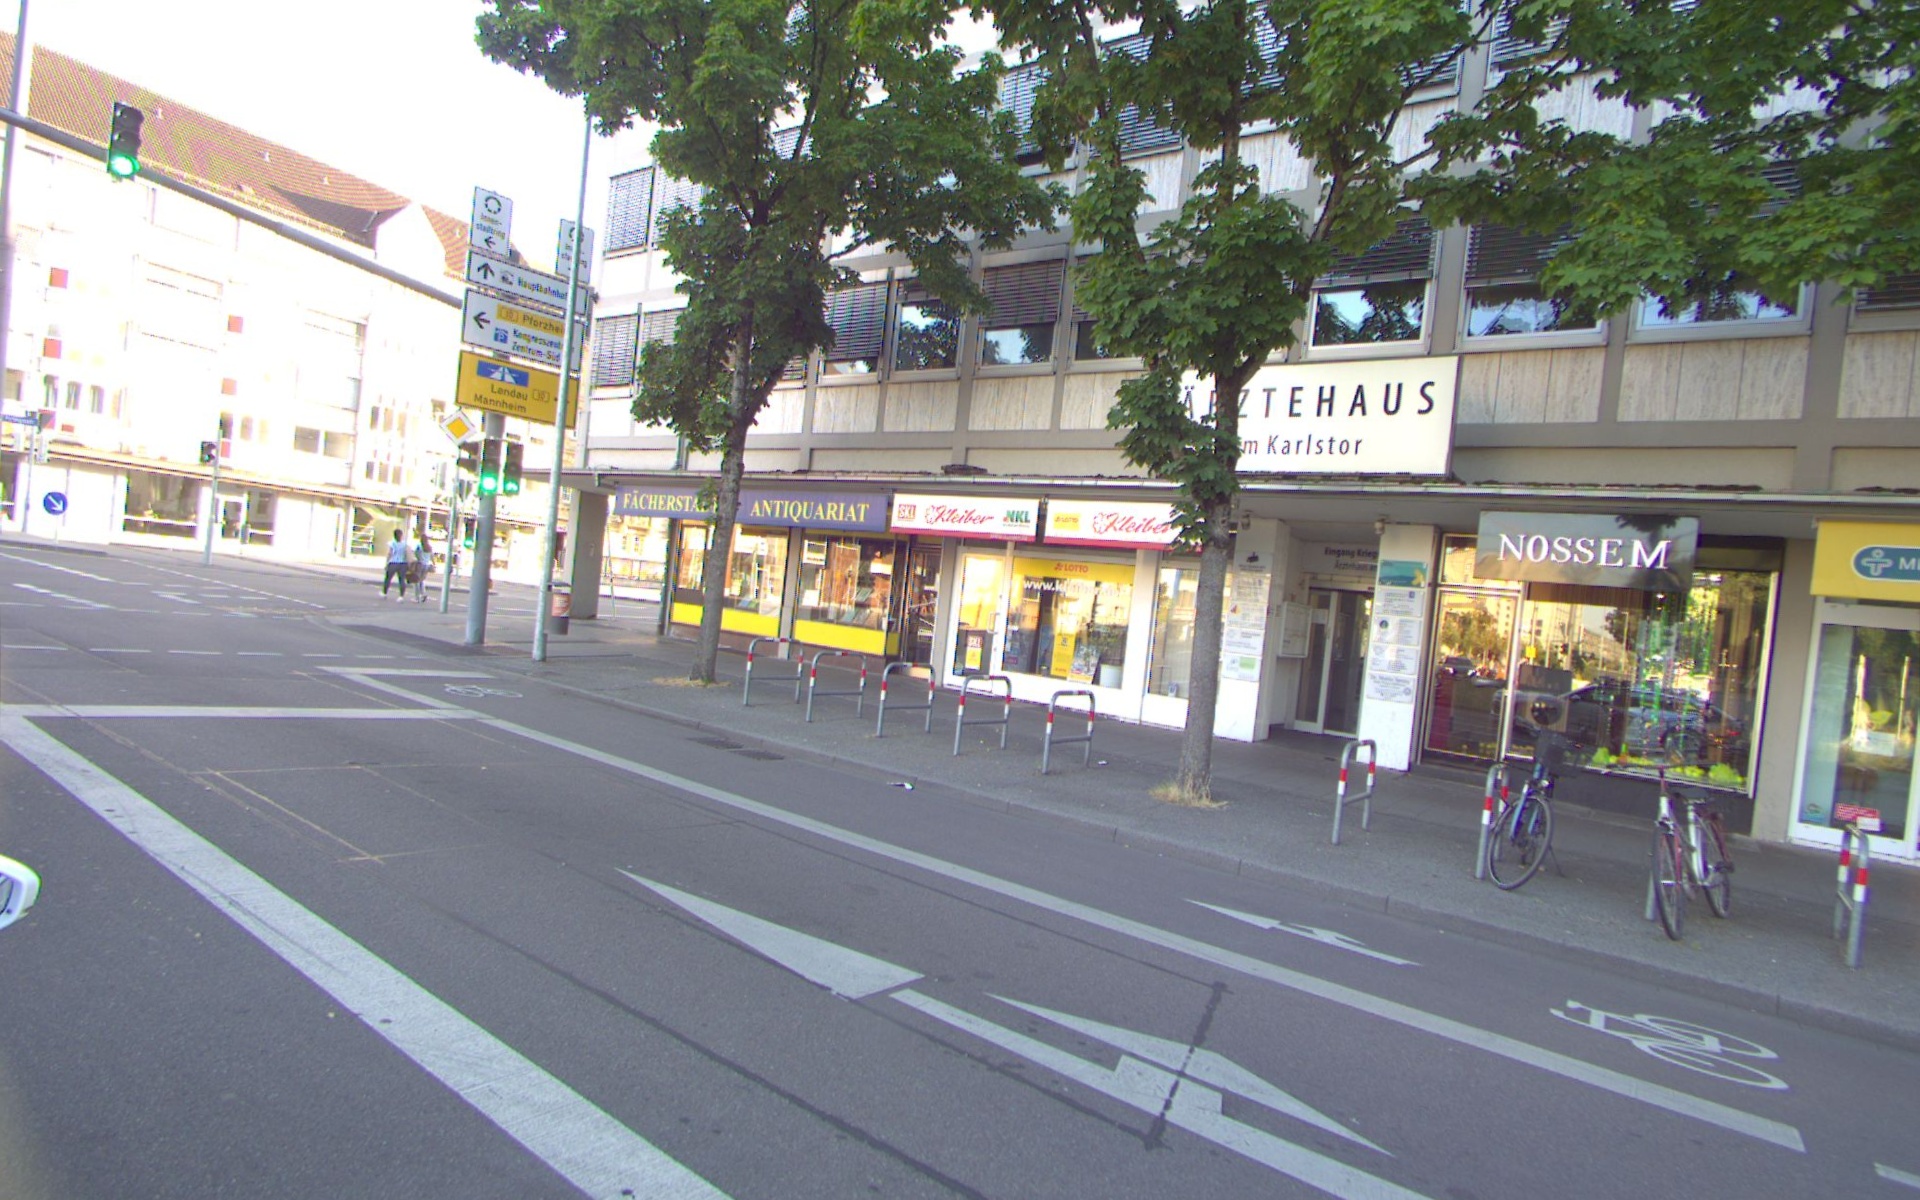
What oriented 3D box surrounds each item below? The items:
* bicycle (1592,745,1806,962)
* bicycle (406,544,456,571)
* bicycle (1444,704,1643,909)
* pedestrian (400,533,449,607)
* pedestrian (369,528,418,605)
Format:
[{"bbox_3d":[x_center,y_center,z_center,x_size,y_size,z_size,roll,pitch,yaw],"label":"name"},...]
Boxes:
[{"bbox_3d":[4.966,1.594,6.701,1.989,1.124,0.660,6,1,-42],"label":"bicycle"},{"bbox_3d":[-30.260,-2.427,57.556,0.809,1.281,2.408,7,0,30],"label":"bicycle"},{"bbox_3d":[4.359,1.453,7.447,1.898,1.251,0.660,6,1,-44],"label":"bicycle"},{"bbox_3d":[-12.949,-0.730,24.319,0.661,1.688,0.722,7,1,39],"label":"pedestrian"},{"bbox_3d":[-13.234,-0.782,23.494,0.661,1.688,0.683,7,1,39],"label":"pedestrian"}]
